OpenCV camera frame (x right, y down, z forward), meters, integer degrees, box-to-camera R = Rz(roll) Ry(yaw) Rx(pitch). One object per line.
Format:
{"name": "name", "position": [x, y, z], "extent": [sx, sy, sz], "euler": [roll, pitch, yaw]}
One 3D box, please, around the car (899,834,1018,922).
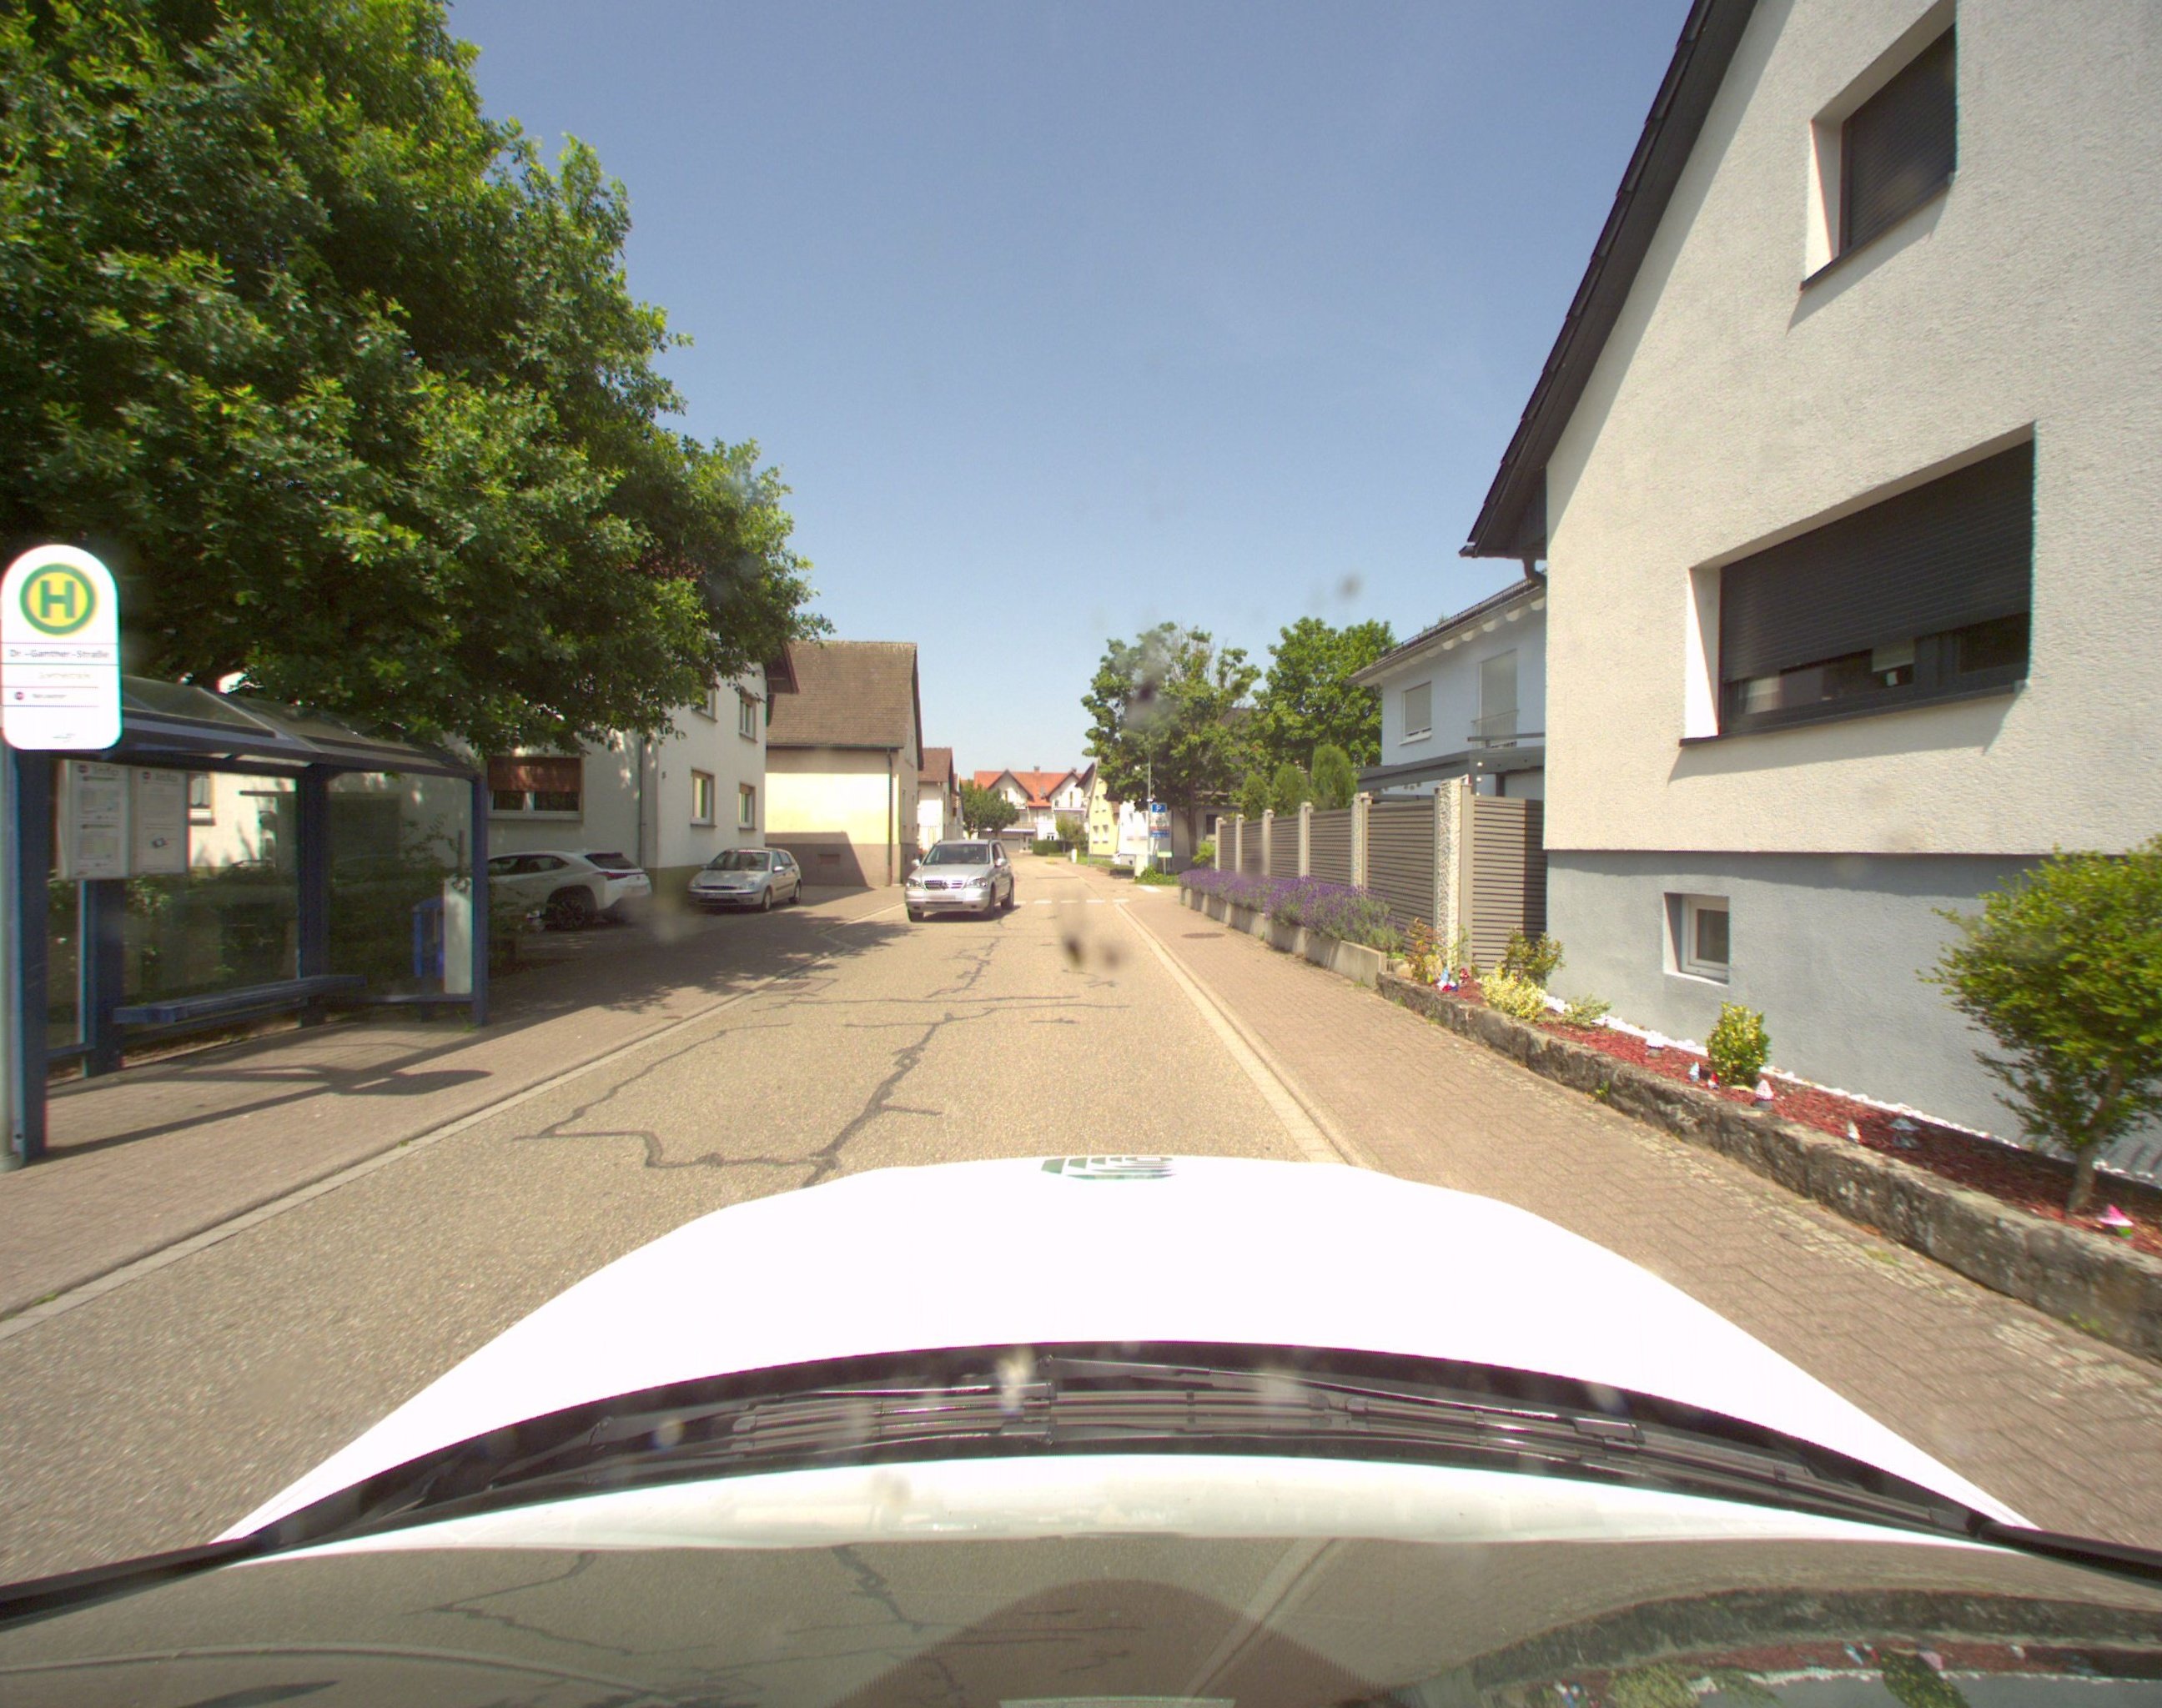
{"name": "car", "position": [-2.659, 0.480, 18.718], "extent": [1.878, 1.767, 4.334], "euler": [-1, 0, 2]}

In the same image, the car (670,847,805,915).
{"name": "car", "position": [-8.107, 0.565, 19.616], "extent": [1.775, 1.434, 4.050], "euler": [0, 1, -4]}

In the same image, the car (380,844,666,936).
{"name": "car", "position": [-10.548, 0.633, 15.668], "extent": [4.150, 1.538, 1.772], "euler": [-2, 1, -3]}

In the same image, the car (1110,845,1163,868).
{"name": "car", "position": [3.439, 0.166, 50.486], "extent": [3.046, 1.345, 1.416], "euler": [-1, 0, -13]}
